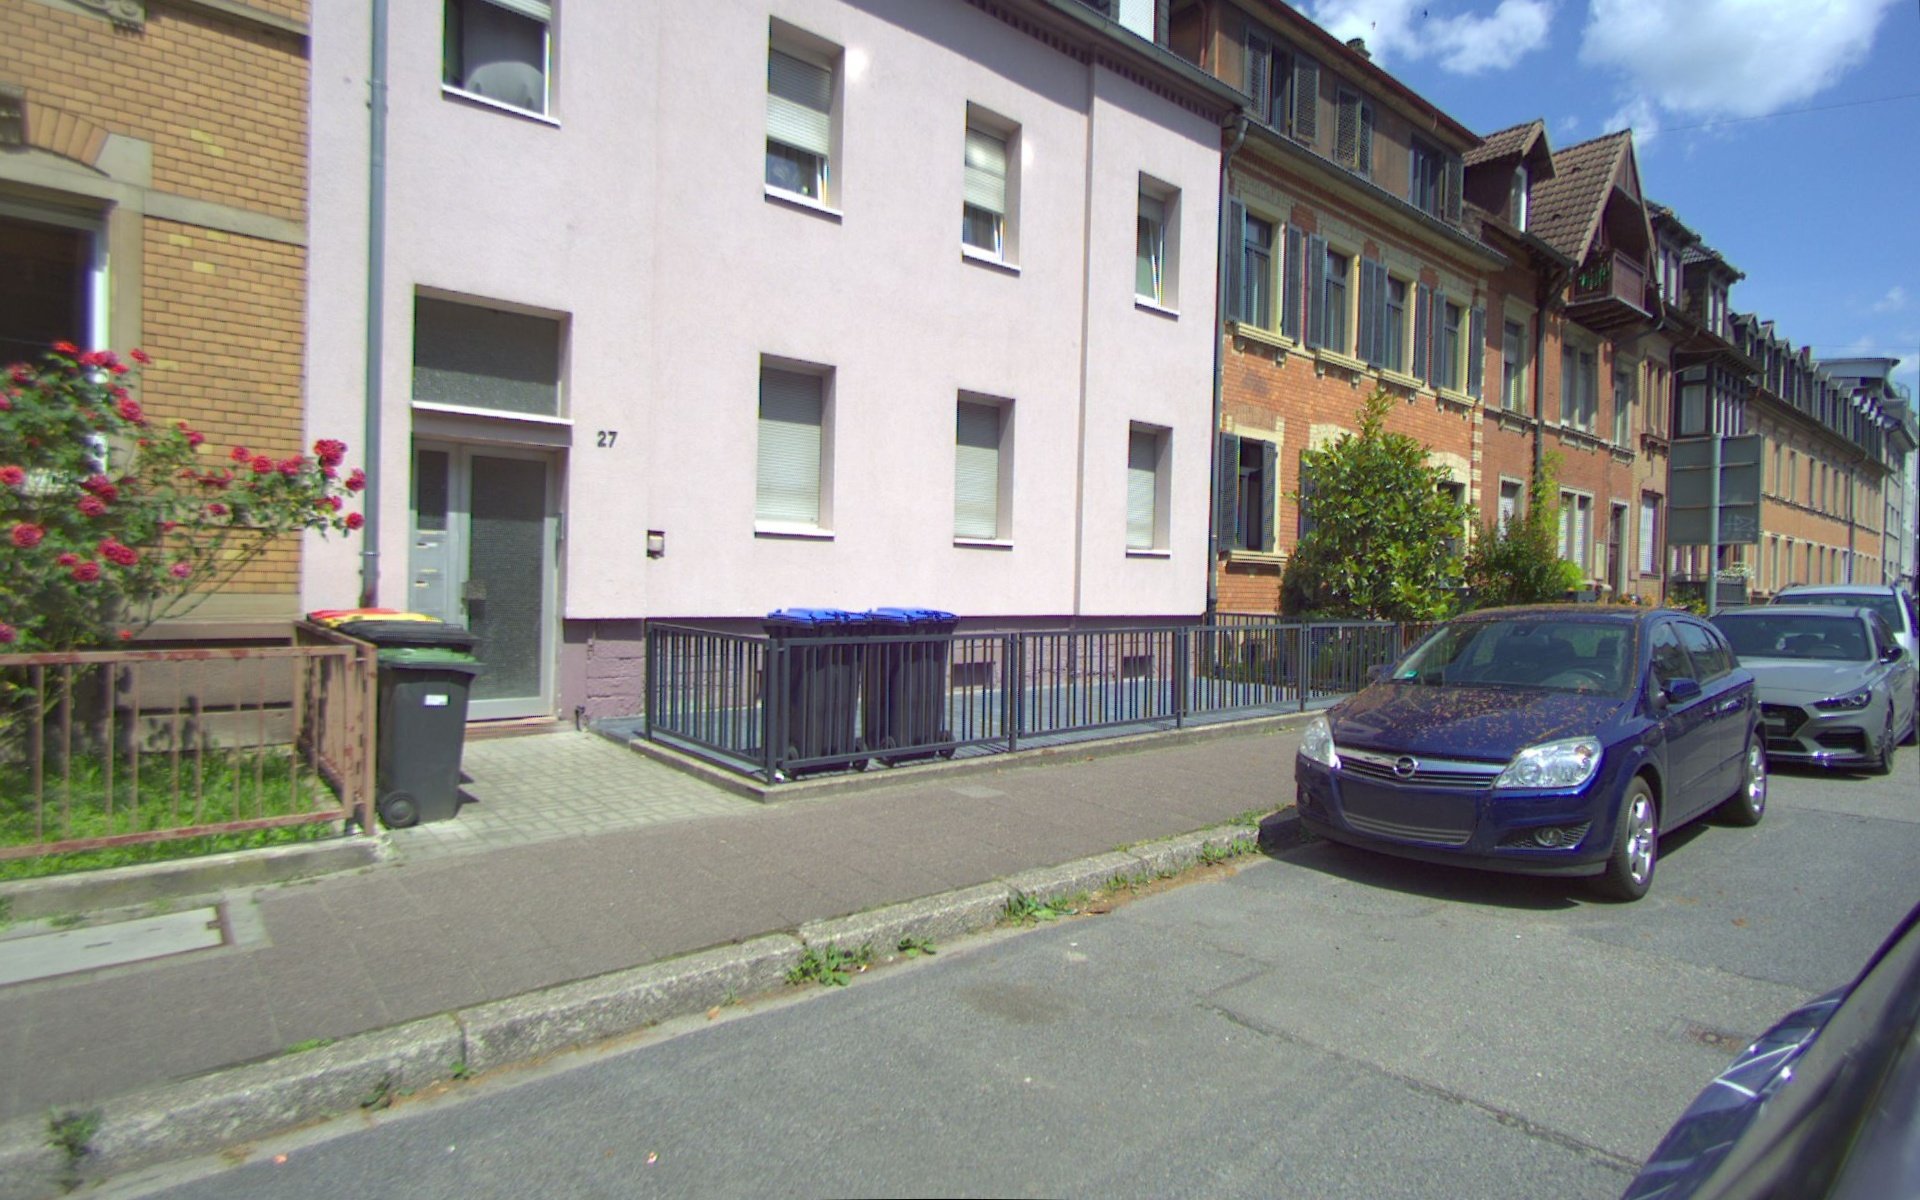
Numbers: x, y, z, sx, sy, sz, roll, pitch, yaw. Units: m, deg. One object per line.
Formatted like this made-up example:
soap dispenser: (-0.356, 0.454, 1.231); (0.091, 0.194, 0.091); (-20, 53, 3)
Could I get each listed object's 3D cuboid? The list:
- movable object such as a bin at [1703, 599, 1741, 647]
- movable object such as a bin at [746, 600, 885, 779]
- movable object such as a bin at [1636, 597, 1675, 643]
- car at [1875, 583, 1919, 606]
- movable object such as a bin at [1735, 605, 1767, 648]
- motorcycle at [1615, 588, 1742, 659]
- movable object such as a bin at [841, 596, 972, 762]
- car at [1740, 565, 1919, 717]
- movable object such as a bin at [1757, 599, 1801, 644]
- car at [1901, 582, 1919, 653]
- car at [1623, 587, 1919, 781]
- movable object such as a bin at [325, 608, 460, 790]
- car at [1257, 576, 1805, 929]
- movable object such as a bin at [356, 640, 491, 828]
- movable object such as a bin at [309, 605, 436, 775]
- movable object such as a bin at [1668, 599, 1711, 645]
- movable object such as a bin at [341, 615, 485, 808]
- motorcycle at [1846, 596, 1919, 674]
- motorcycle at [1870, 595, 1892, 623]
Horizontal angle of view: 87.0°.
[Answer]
movable object such as a bin: (17.953, 0.526, 23.842); (0.714, 1.089, 0.558); (0, 1, -40)
movable object such as a bin: (-0.971, 0.558, 6.759); (0.671, 1.096, 0.654); (0, 1, -38)
movable object such as a bin: (17.096, 0.471, 24.869); (0.748, 1.090, 0.610); (0, 1, -40)
car: (97.310, -0.542, 104.072); (2.071, 2.305, 4.606); (0, 0, -44)
movable object such as a bin: (18.318, 0.605, 23.433); (0.517, 0.953, 0.482); (0, 1, -40)
motorcycle: (16.167, 0.492, 22.820); (0.921, 1.425, 2.133); (0, 3, -41)
movable object such as a bin: (-0.389, 0.531, 7.287); (0.671, 1.096, 0.654); (0, 1, -38)
car: (12.318, 0.480, 13.965); (4.542, 1.770, 1.861); (0, 0, -45)
movable object such as a bin: (21.093, 0.534, 26.071); (0.675, 1.102, 0.788); (0, 2, -44)
car: (24.945, 0.421, 25.043); (4.545, 1.682, 1.997); (0, 2, -42)
car: (8.228, 0.654, 10.012); (4.237, 1.506, 1.862); (0, 0, -43)
movable object such as a bin: (-3.635, 0.596, 6.483); (0.656, 1.063, 0.560); (0, 1, -40)
car: (3.890, 0.650, 6.479); (4.538, 1.506, 1.698); (0, 0, -42)
movable object such as a bin: (-2.969, 0.710, 5.600); (0.554, 0.924, 0.468); (0, 2, -42)
movable object such as a bin: (-4.013, 0.578, 6.915); (0.656, 1.063, 0.560); (0, 2, -41)
movable object such as a bin: (17.542, 0.508, 24.335); (0.735, 1.068, 0.660); (0, 1, -40)
movable object such as a bin: (-3.270, 0.626, 6.049); (0.656, 1.045, 0.529); (0, 2, -40)
motorcycle: (17.958, 0.640, 18.853); (1.091, 1.403, 1.998); (0, 1, -3)
motorcycle: (41.611, 0.396, 45.725); (1.338, 1.240, 0.596); (-1, 2, -43)
